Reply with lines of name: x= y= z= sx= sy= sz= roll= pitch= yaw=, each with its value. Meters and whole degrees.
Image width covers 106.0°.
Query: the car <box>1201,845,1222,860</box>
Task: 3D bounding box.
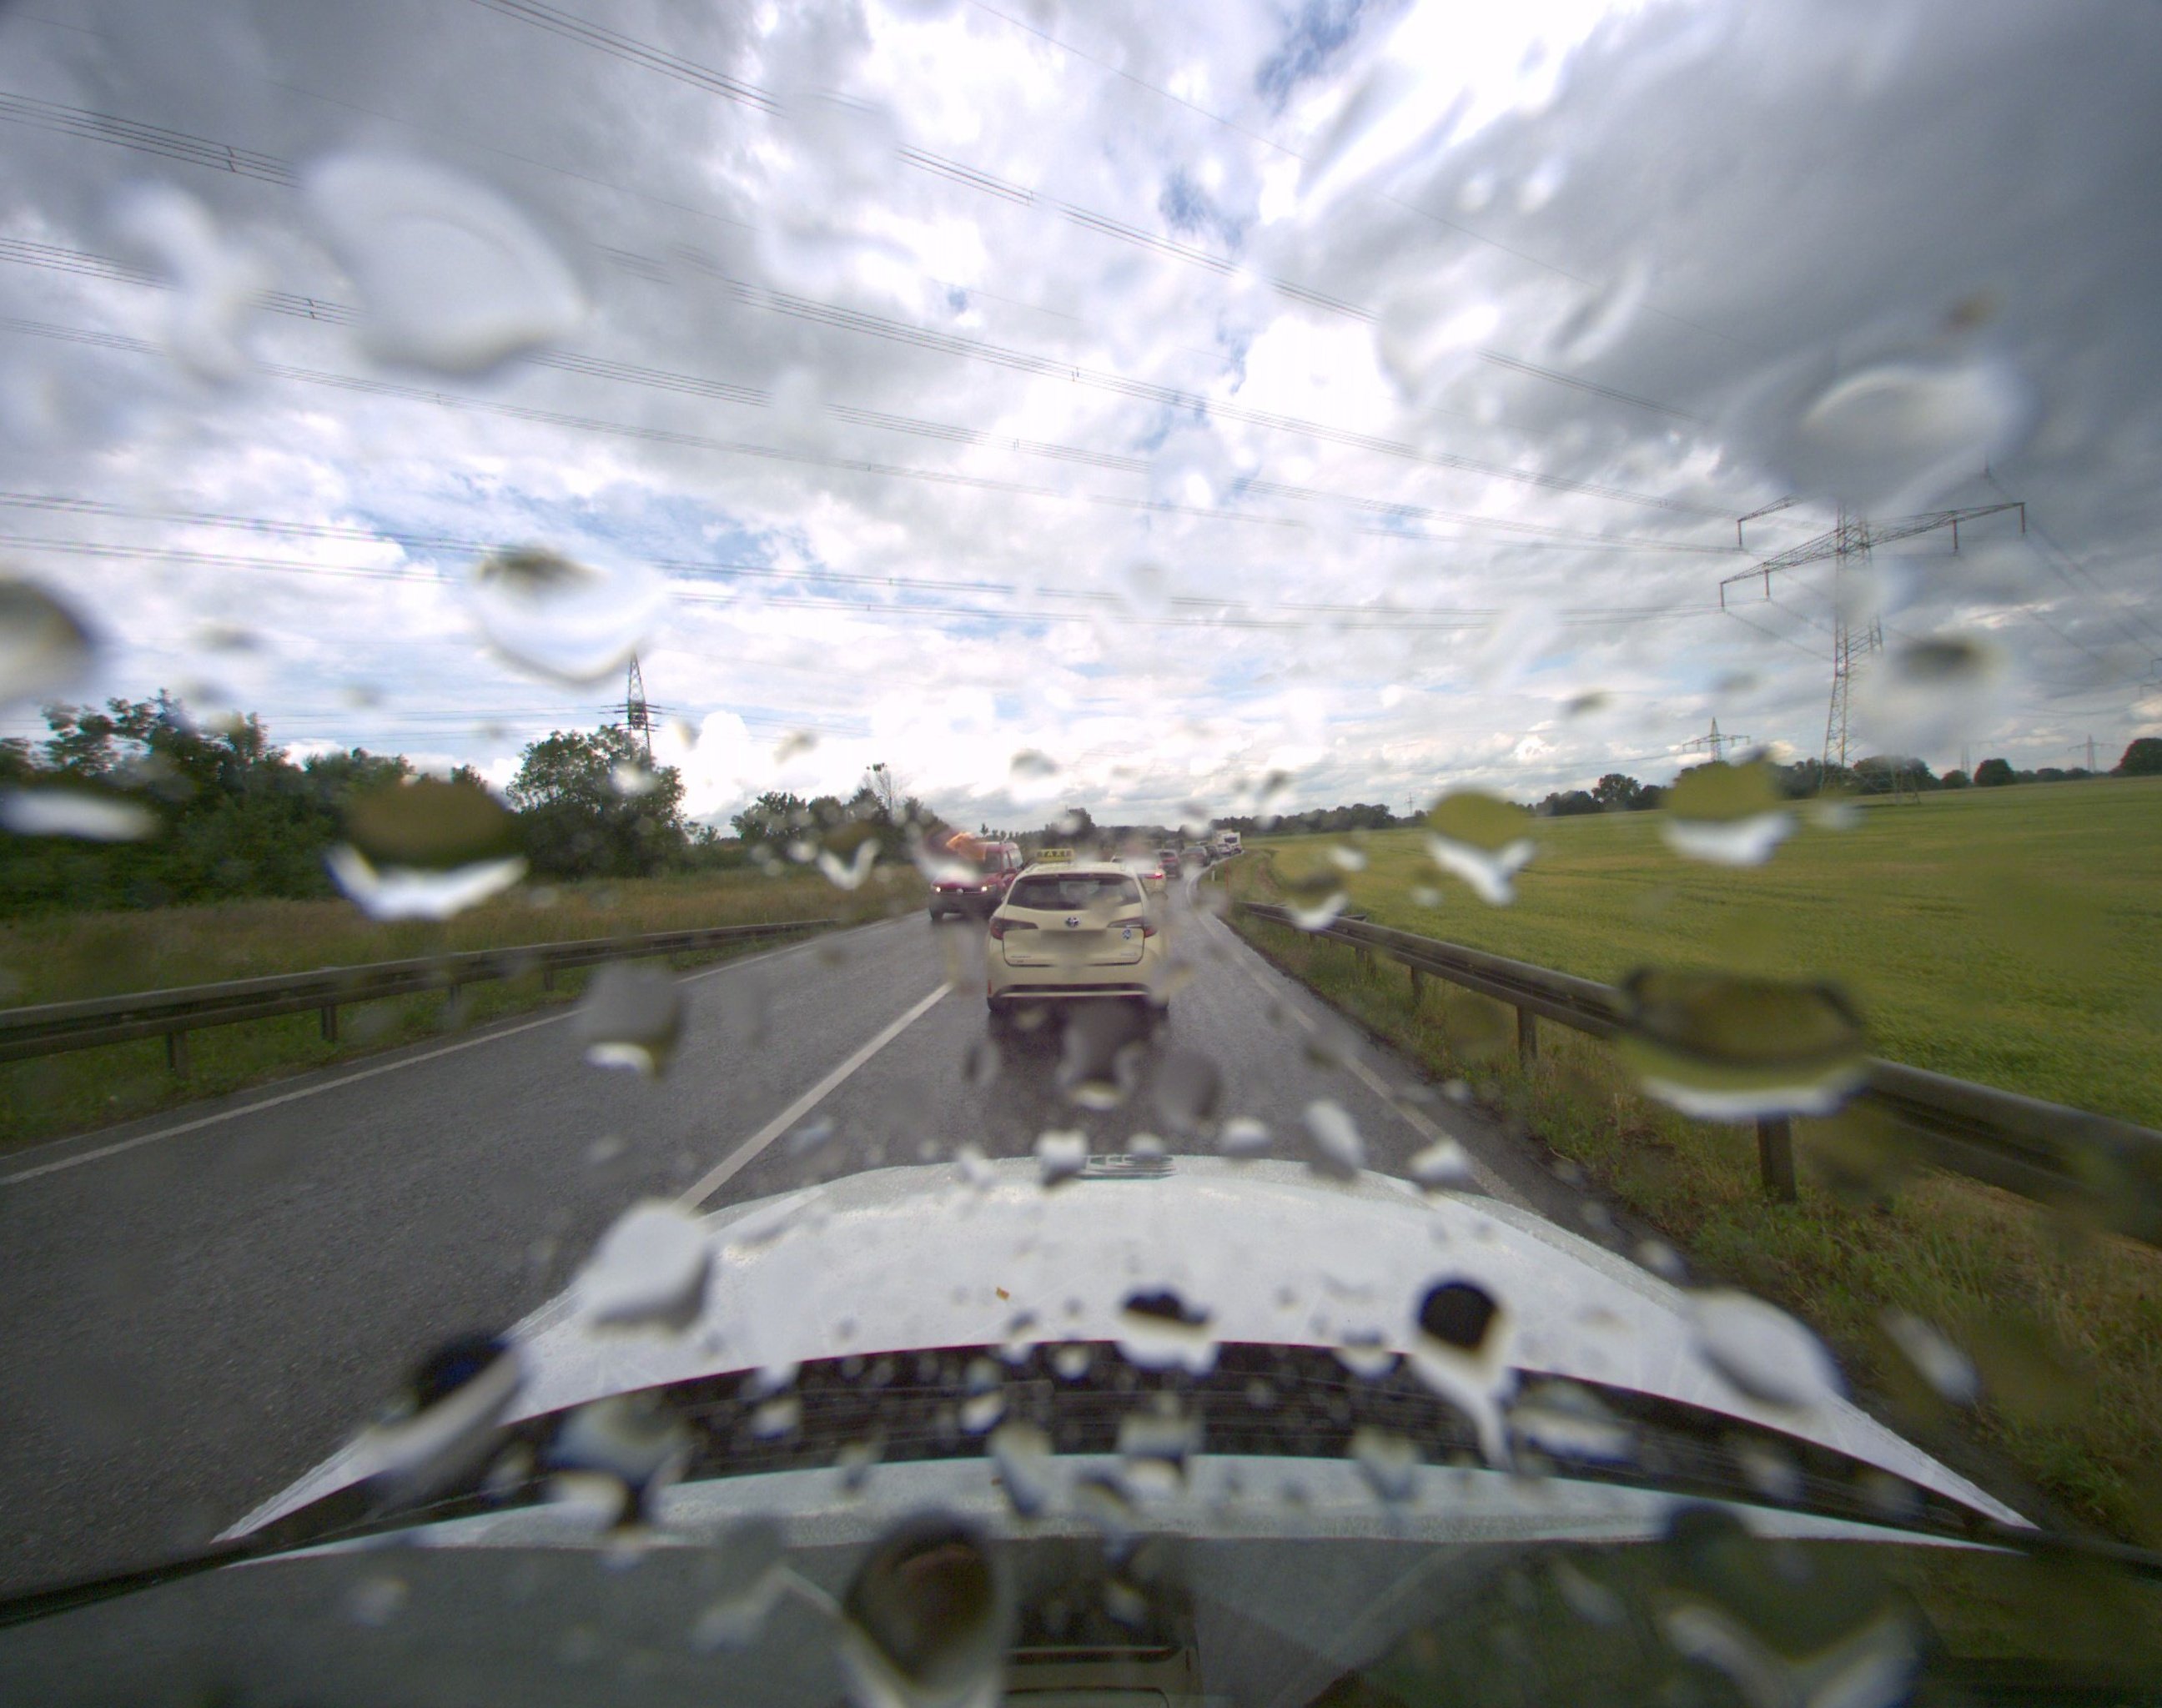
car: x=12.639 y=-0.112 z=78.598 sx=1.813 sy=1.413 sz=3.750 roll=-1 pitch=-1 yaw=12

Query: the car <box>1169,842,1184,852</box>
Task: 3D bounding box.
car: x=19.600 y=-1.487 z=167.108 sx=1.741 sy=2.014 sz=4.129 roll=-1 pitch=-1 yaw=-13

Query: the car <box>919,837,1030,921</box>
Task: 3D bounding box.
car: x=-2.563 y=0.580 z=20.772 sx=1.792 sy=1.850 sz=4.527 roll=-2 pitch=-1 yaw=5

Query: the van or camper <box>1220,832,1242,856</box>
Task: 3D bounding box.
van or camper: x=19.171 y=-1.328 z=104.034 sx=2.520 sy=2.896 sz=6.765 roll=-1 pitch=1 yaw=12

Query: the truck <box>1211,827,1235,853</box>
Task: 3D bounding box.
truck: x=22.910 y=-2.199 z=131.793 sx=3.111 sy=3.852 sz=7.397 roll=-1 pitch=-1 yaw=5

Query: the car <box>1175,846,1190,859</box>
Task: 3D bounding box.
car: x=16.850 y=-0.213 z=135.410 sx=1.986 sy=2.014 sz=4.248 roll=-1 pitch=-1 yaw=2

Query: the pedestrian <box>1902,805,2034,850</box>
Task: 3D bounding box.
pedestrian: x=42.731 y=-1.229 z=39.370 sx=1.987 sy=2.014 sz=3.999 roll=-1 pitch=-1 yaw=0

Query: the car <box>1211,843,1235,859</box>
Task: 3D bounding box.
car: x=15.629 y=-0.320 z=89.292 sx=1.943 sy=1.729 sz=3.757 roll=-1 pitch=-1 yaw=20

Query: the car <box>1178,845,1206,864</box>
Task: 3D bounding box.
car: x=8.524 y=0.056 z=62.335 sx=1.948 sy=1.413 sz=4.404 roll=-1 pitch=-1 yaw=10

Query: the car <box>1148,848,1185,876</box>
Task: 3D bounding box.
car: x=4.542 y=0.427 z=43.146 sx=1.602 sy=1.413 sz=3.749 roll=-1 pitch=-1 yaw=11

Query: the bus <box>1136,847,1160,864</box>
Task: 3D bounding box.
bus: x=14.061 y=0.220 z=172.163 sx=2.755 sy=3.297 sz=12.473 roll=-1 pitch=1 yaw=-7

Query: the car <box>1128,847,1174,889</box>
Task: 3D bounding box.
car: x=2.984 y=0.558 z=34.143 sx=1.603 sy=1.659 sz=3.747 roll=-1 pitch=-1 yaw=9

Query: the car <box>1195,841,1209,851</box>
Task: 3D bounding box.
car: x=22.439 y=-1.408 z=150.942 sx=1.878 sy=1.773 sz=4.156 roll=-1 pitch=-1 yaw=-2

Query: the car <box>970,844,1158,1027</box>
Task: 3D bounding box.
car: x=-0.117 y=0.718 z=8.901 sx=1.607 sy=1.562 sz=3.738 roll=-1 pitch=-1 yaw=1

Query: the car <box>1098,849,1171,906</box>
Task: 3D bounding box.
car: x=1.687 y=0.613 z=24.240 sx=1.831 sy=1.492 sz=4.618 roll=-1 pitch=1 yaw=8
